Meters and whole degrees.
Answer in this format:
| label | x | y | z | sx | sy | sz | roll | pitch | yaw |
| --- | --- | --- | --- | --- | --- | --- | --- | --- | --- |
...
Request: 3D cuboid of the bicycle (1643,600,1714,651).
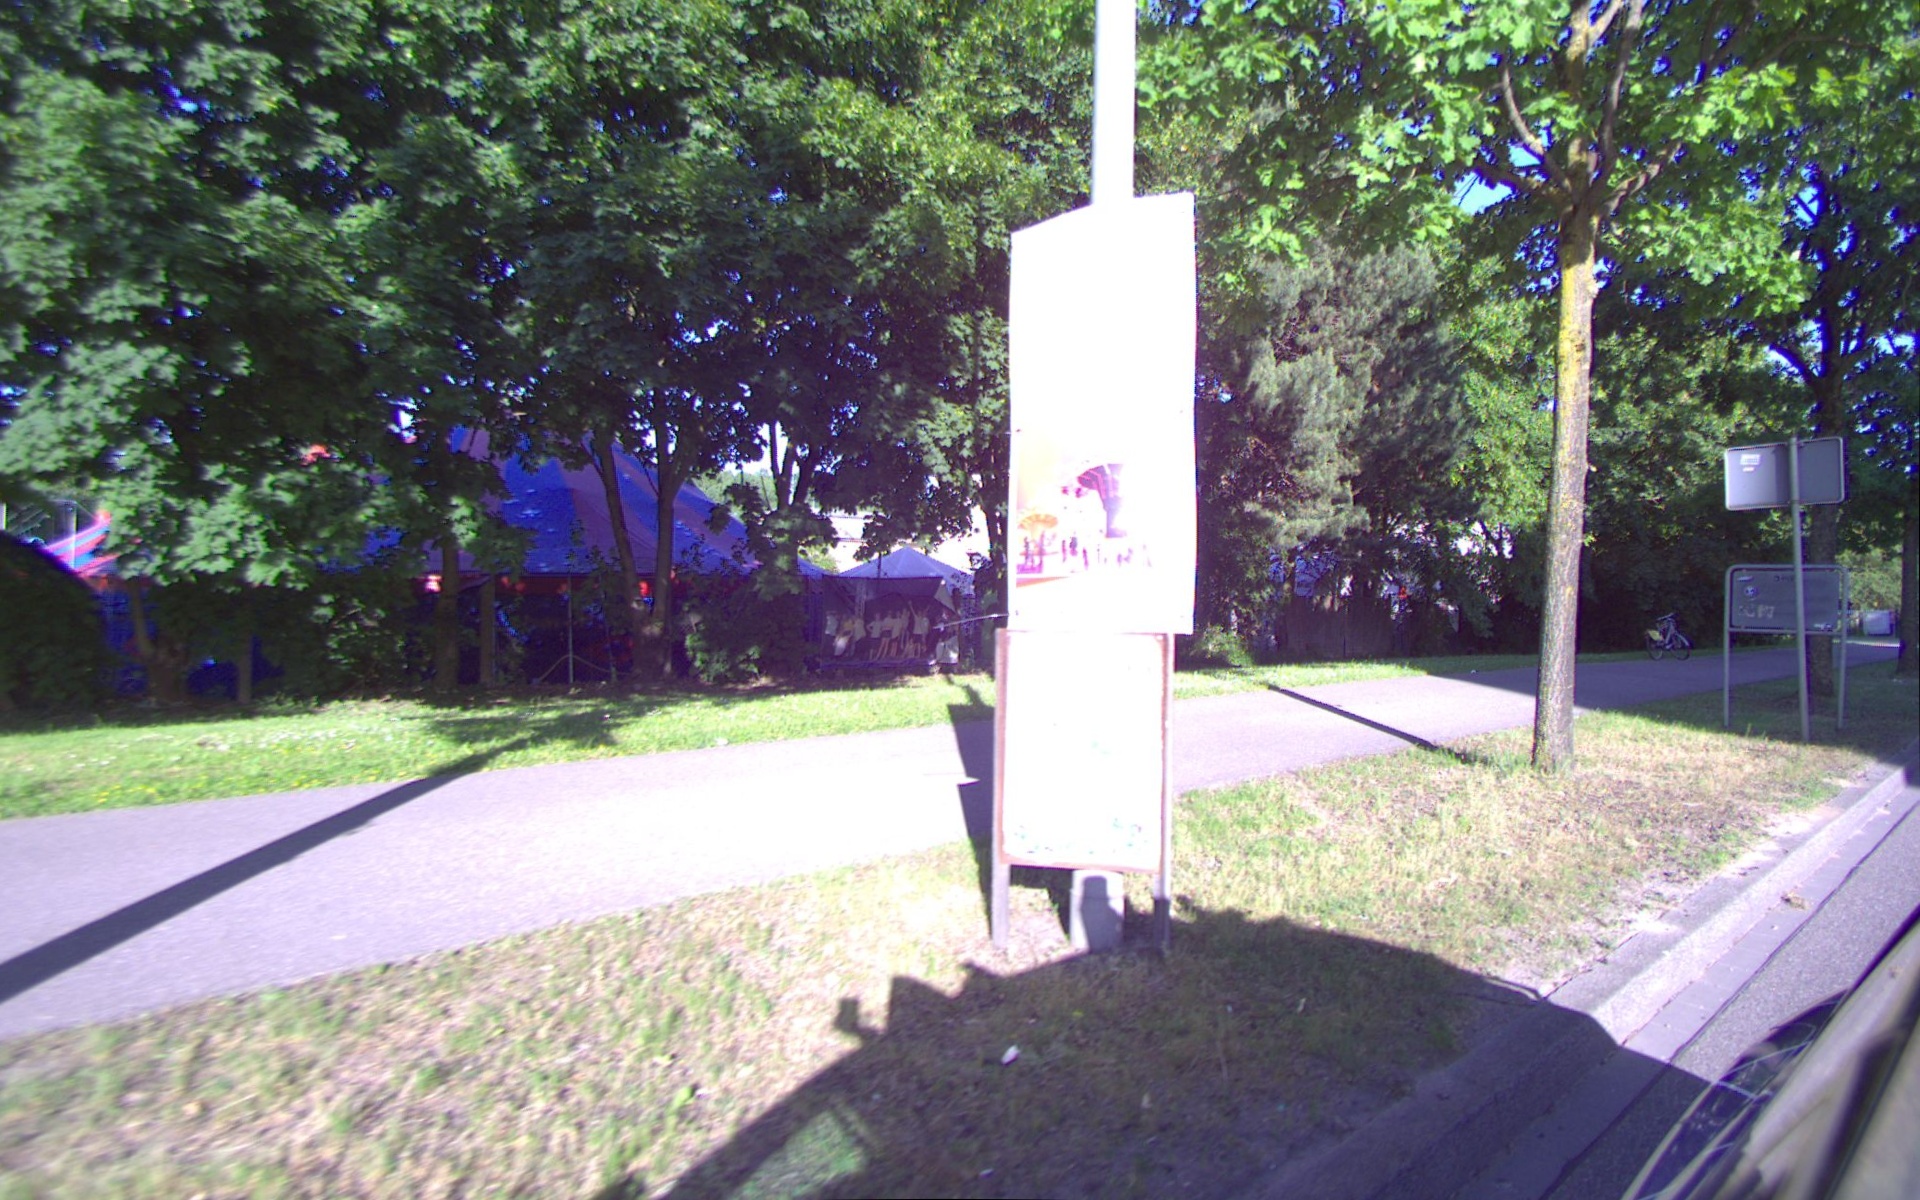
| label | x | y | z | sx | sy | sz | roll | pitch | yaw |
| --- | --- | --- | --- | --- | --- | --- | --- | --- | --- |
| bicycle | 16.776 | 0.592 | 23.635 | 1.675 | 1.145 | 0.777 | 1 | 0 | -33 |
